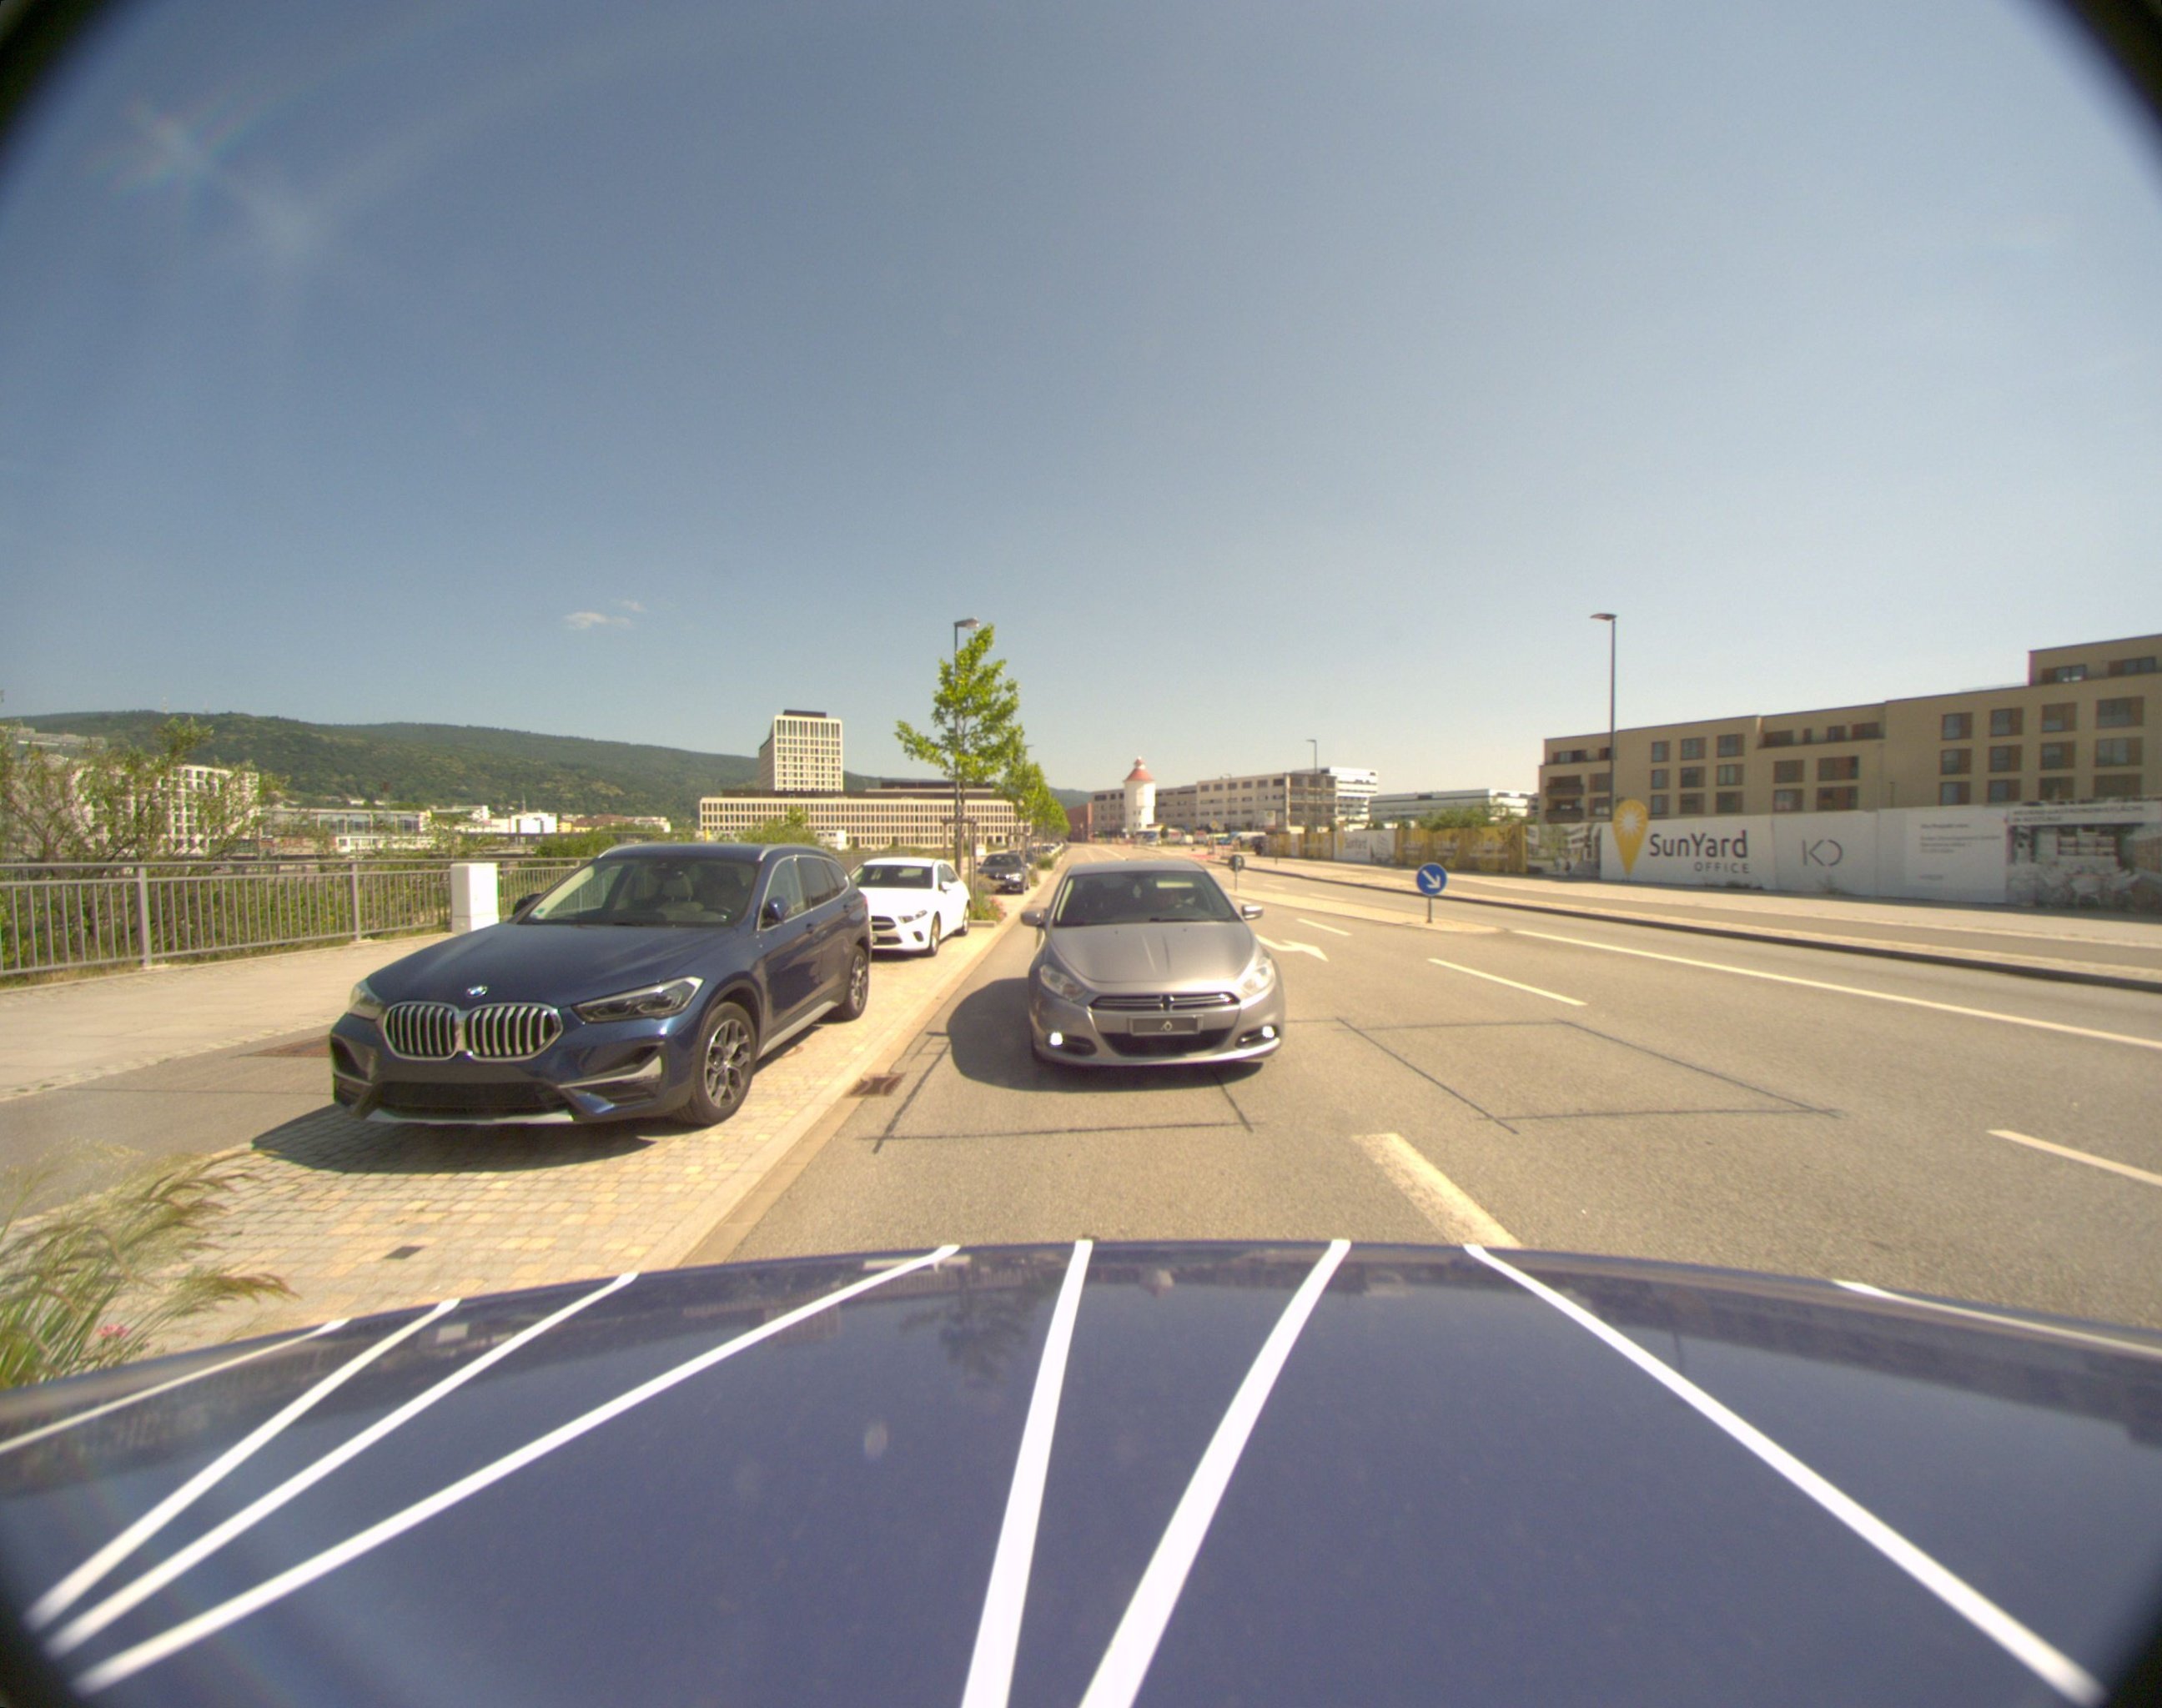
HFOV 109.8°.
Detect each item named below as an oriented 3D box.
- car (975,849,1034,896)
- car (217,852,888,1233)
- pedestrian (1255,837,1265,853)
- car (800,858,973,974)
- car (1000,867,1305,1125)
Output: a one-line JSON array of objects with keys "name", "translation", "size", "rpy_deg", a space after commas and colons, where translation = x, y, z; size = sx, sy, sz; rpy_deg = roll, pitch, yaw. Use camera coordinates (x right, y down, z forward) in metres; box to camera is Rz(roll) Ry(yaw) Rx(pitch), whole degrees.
[{"name": "car", "translation": [-2.737, 0.612, 28.003], "size": [1.664, 1.529, 3.999], "rpy_deg": [-2, 1, 1]}, {"name": "car", "translation": [-2.875, 0.833, 5.484], "size": [1.769, 1.598, 4.238], "rpy_deg": [-2, 1, 1]}, {"name": "pedestrian", "translation": [18.288, -0.952, 77.634], "size": [0.705, 1.577, 0.617], "rpy_deg": [-3, 1, -36]}, {"name": "car", "translation": [-2.911, 0.854, 12.285], "size": [1.664, 1.447, 3.999], "rpy_deg": [-2, 1, 1]}, {"name": "car", "translation": [0.456, 0.894, 6.635], "size": [1.784, 1.372, 4.135], "rpy_deg": [-2, 1, 1]}]
